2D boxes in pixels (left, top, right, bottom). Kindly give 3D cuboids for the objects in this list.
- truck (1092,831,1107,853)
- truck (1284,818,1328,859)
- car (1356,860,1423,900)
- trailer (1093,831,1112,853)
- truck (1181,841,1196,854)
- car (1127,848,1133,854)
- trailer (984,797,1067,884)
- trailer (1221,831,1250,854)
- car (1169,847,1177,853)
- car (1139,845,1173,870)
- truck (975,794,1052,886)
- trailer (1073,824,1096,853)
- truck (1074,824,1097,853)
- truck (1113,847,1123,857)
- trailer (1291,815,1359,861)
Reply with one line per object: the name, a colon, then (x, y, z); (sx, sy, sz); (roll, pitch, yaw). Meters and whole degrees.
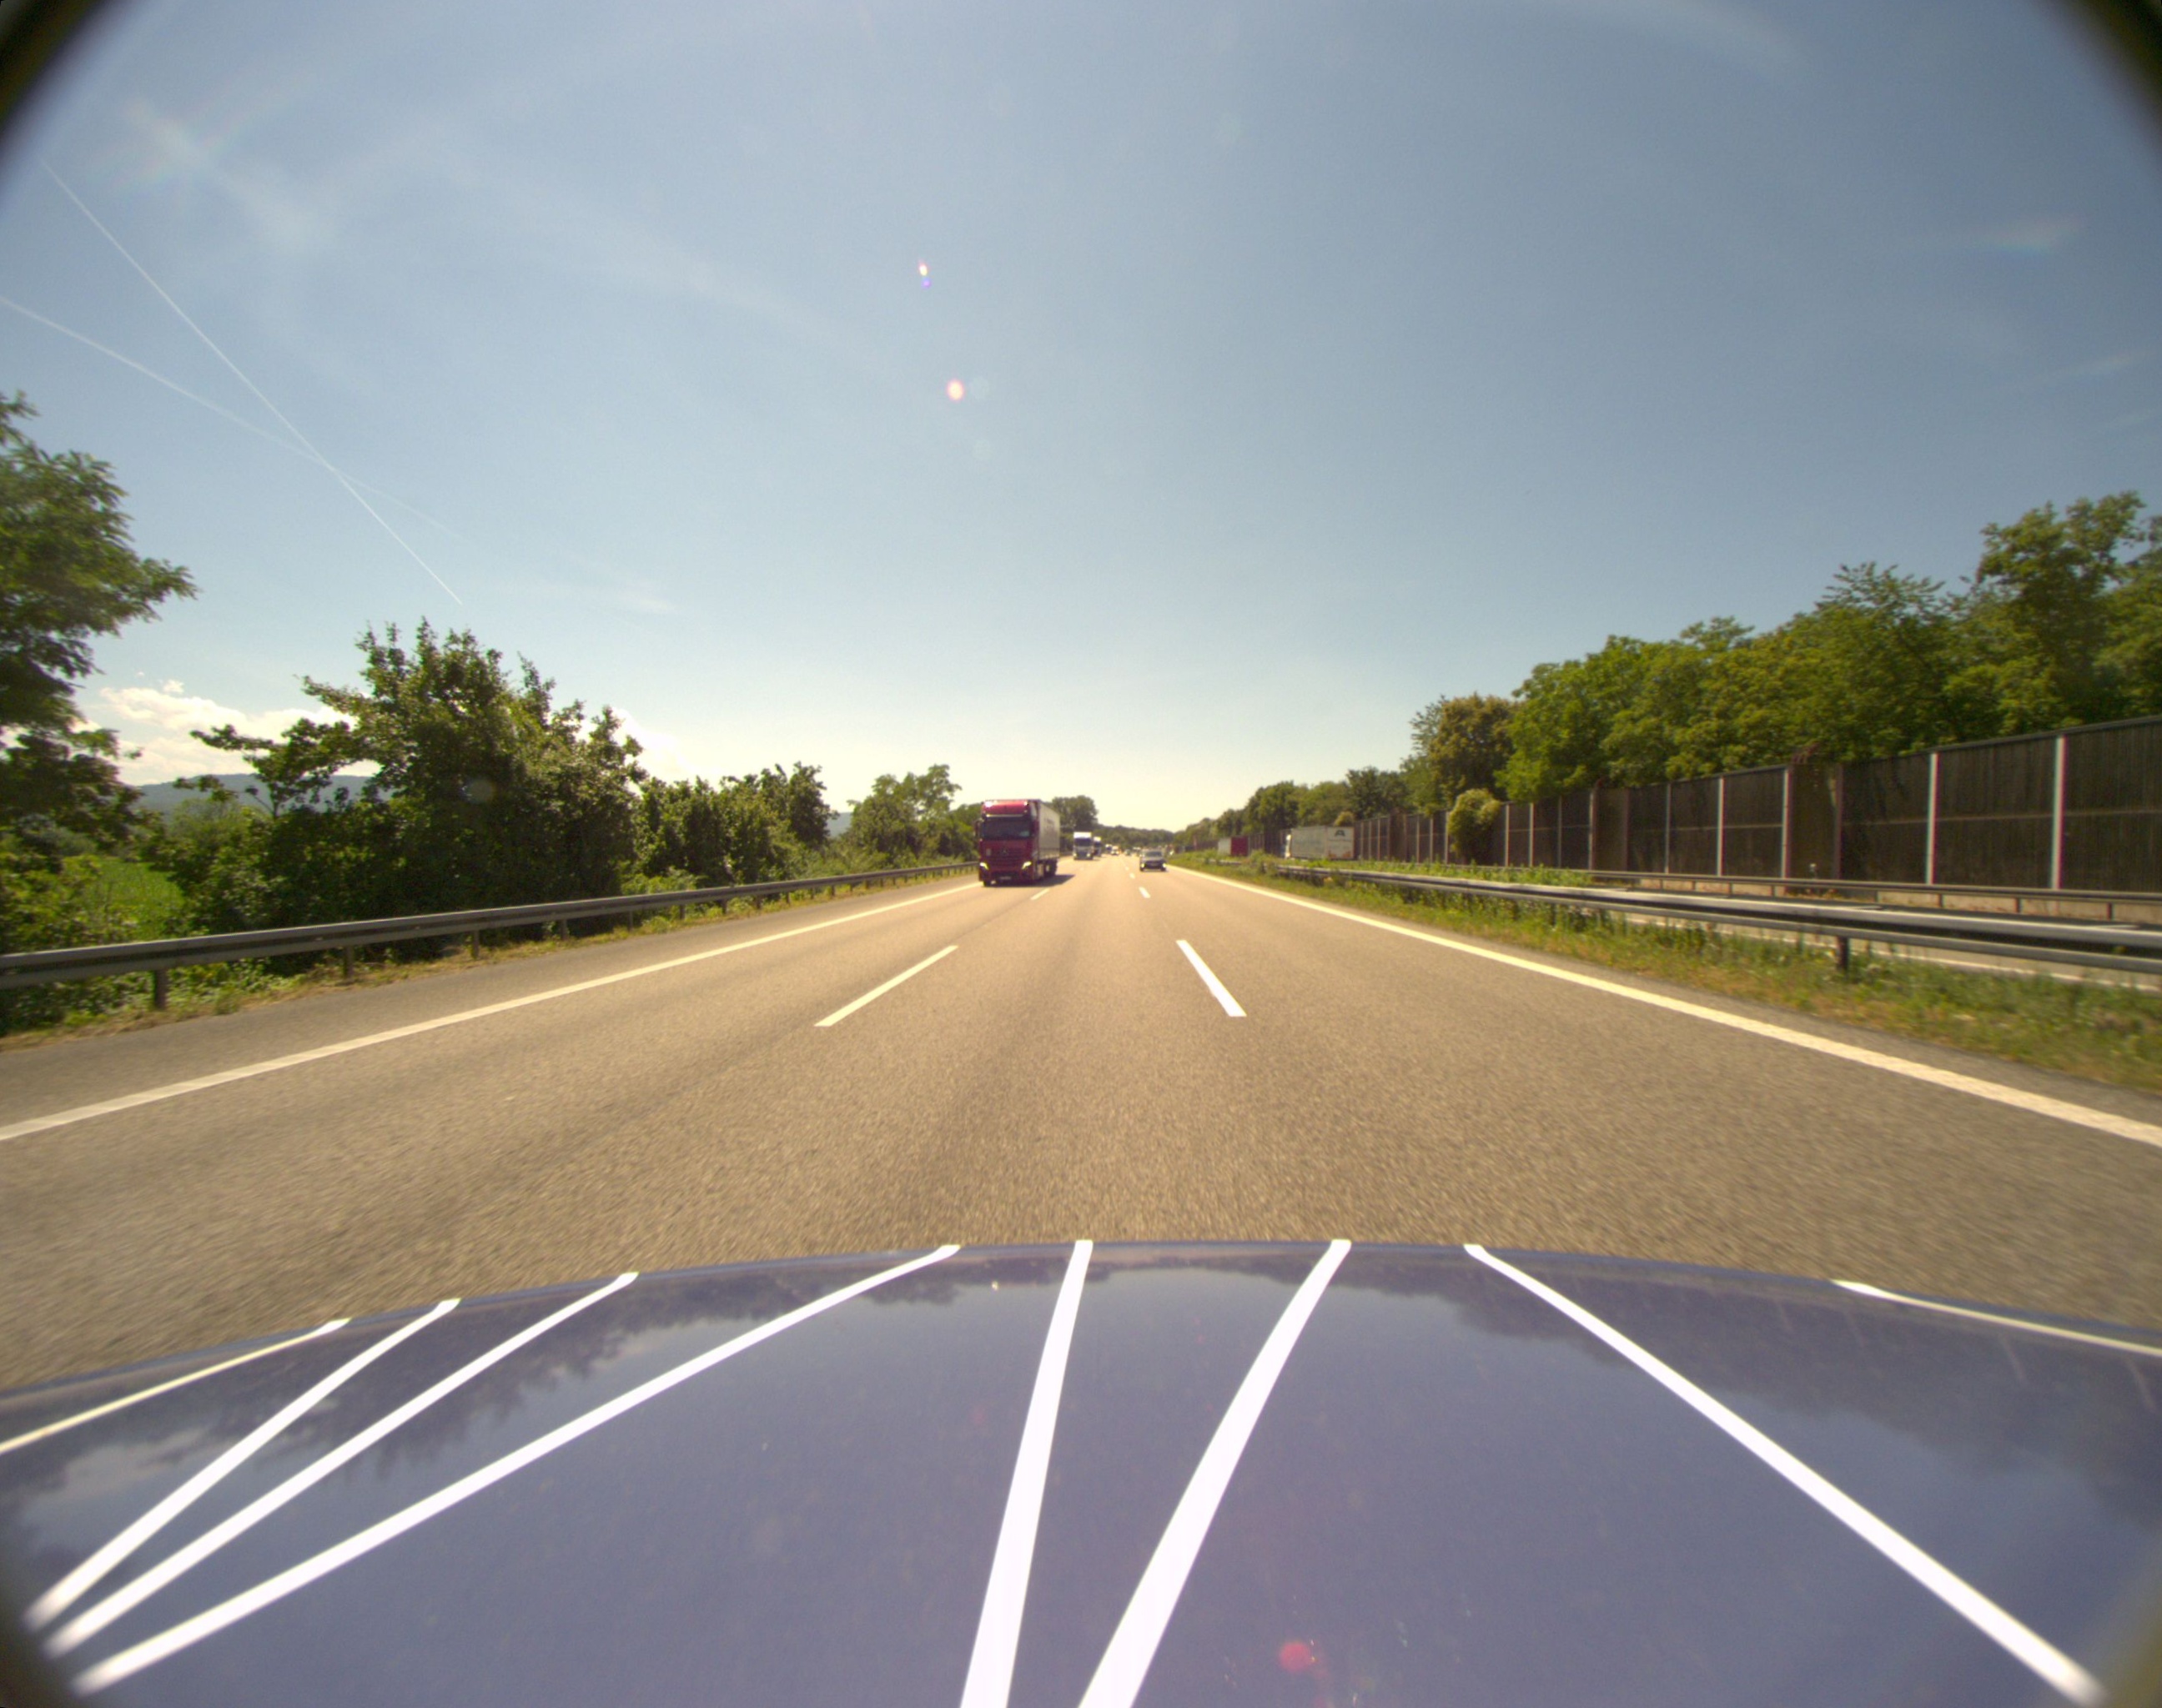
truck: (3.753, -2.385, 152.574); (2.540, 4.446, 5.575); (1, 1, 7)
truck: (24.163, -1.635, 82.030); (2.840, 4.159, 7.142); (0, 1, 2)
car: (17.318, 1.420, 42.903); (1.998, 2.002, 4.896); (-1, 1, 3)
trailer: (4.635, -2.446, 159.717); (2.540, 4.446, 14.167); (1, 1, 7)
truck: (31.993, -1.937, 227.336); (3.097, 3.654, 12.368); (1, 1, 2)
car: (15.024, -0.856, 232.543); (1.908, 1.717, 4.377); (1, 1, 5)
trailer: (-2.754, -0.692, 42.974); (2.713, 4.065, 14.153); (1, 1, 4)
trailer: (27.404, -2.014, 135.304); (2.741, 3.999, 14.305); (0, 1, 2)
car: (27.822, -1.211, 228.931); (1.998, 1.581, 4.493); (1, 1, 3)
car: (5.361, 0.222, 54.795); (1.909, 1.717, 4.375); (1, 1, 0)
truck: (-3.125, -0.652, 37.140); (2.713, 4.065, 6.965); (1, 1, 4)
trailer: (0.424, -2.342, 115.954); (2.967, 4.082, 12.528); (1, 1, -2)
truck: (0.589, -2.235, 110.536); (2.967, 4.082, 6.205); (1, 1, -2)
truck: (11.065, -0.618, 228.204); (2.714, 2.712, 12.370); (1, 1, 4)
trailer: (23.890, -1.539, 75.329); (2.917, 4.159, 13.311); (0, 1, 2)
